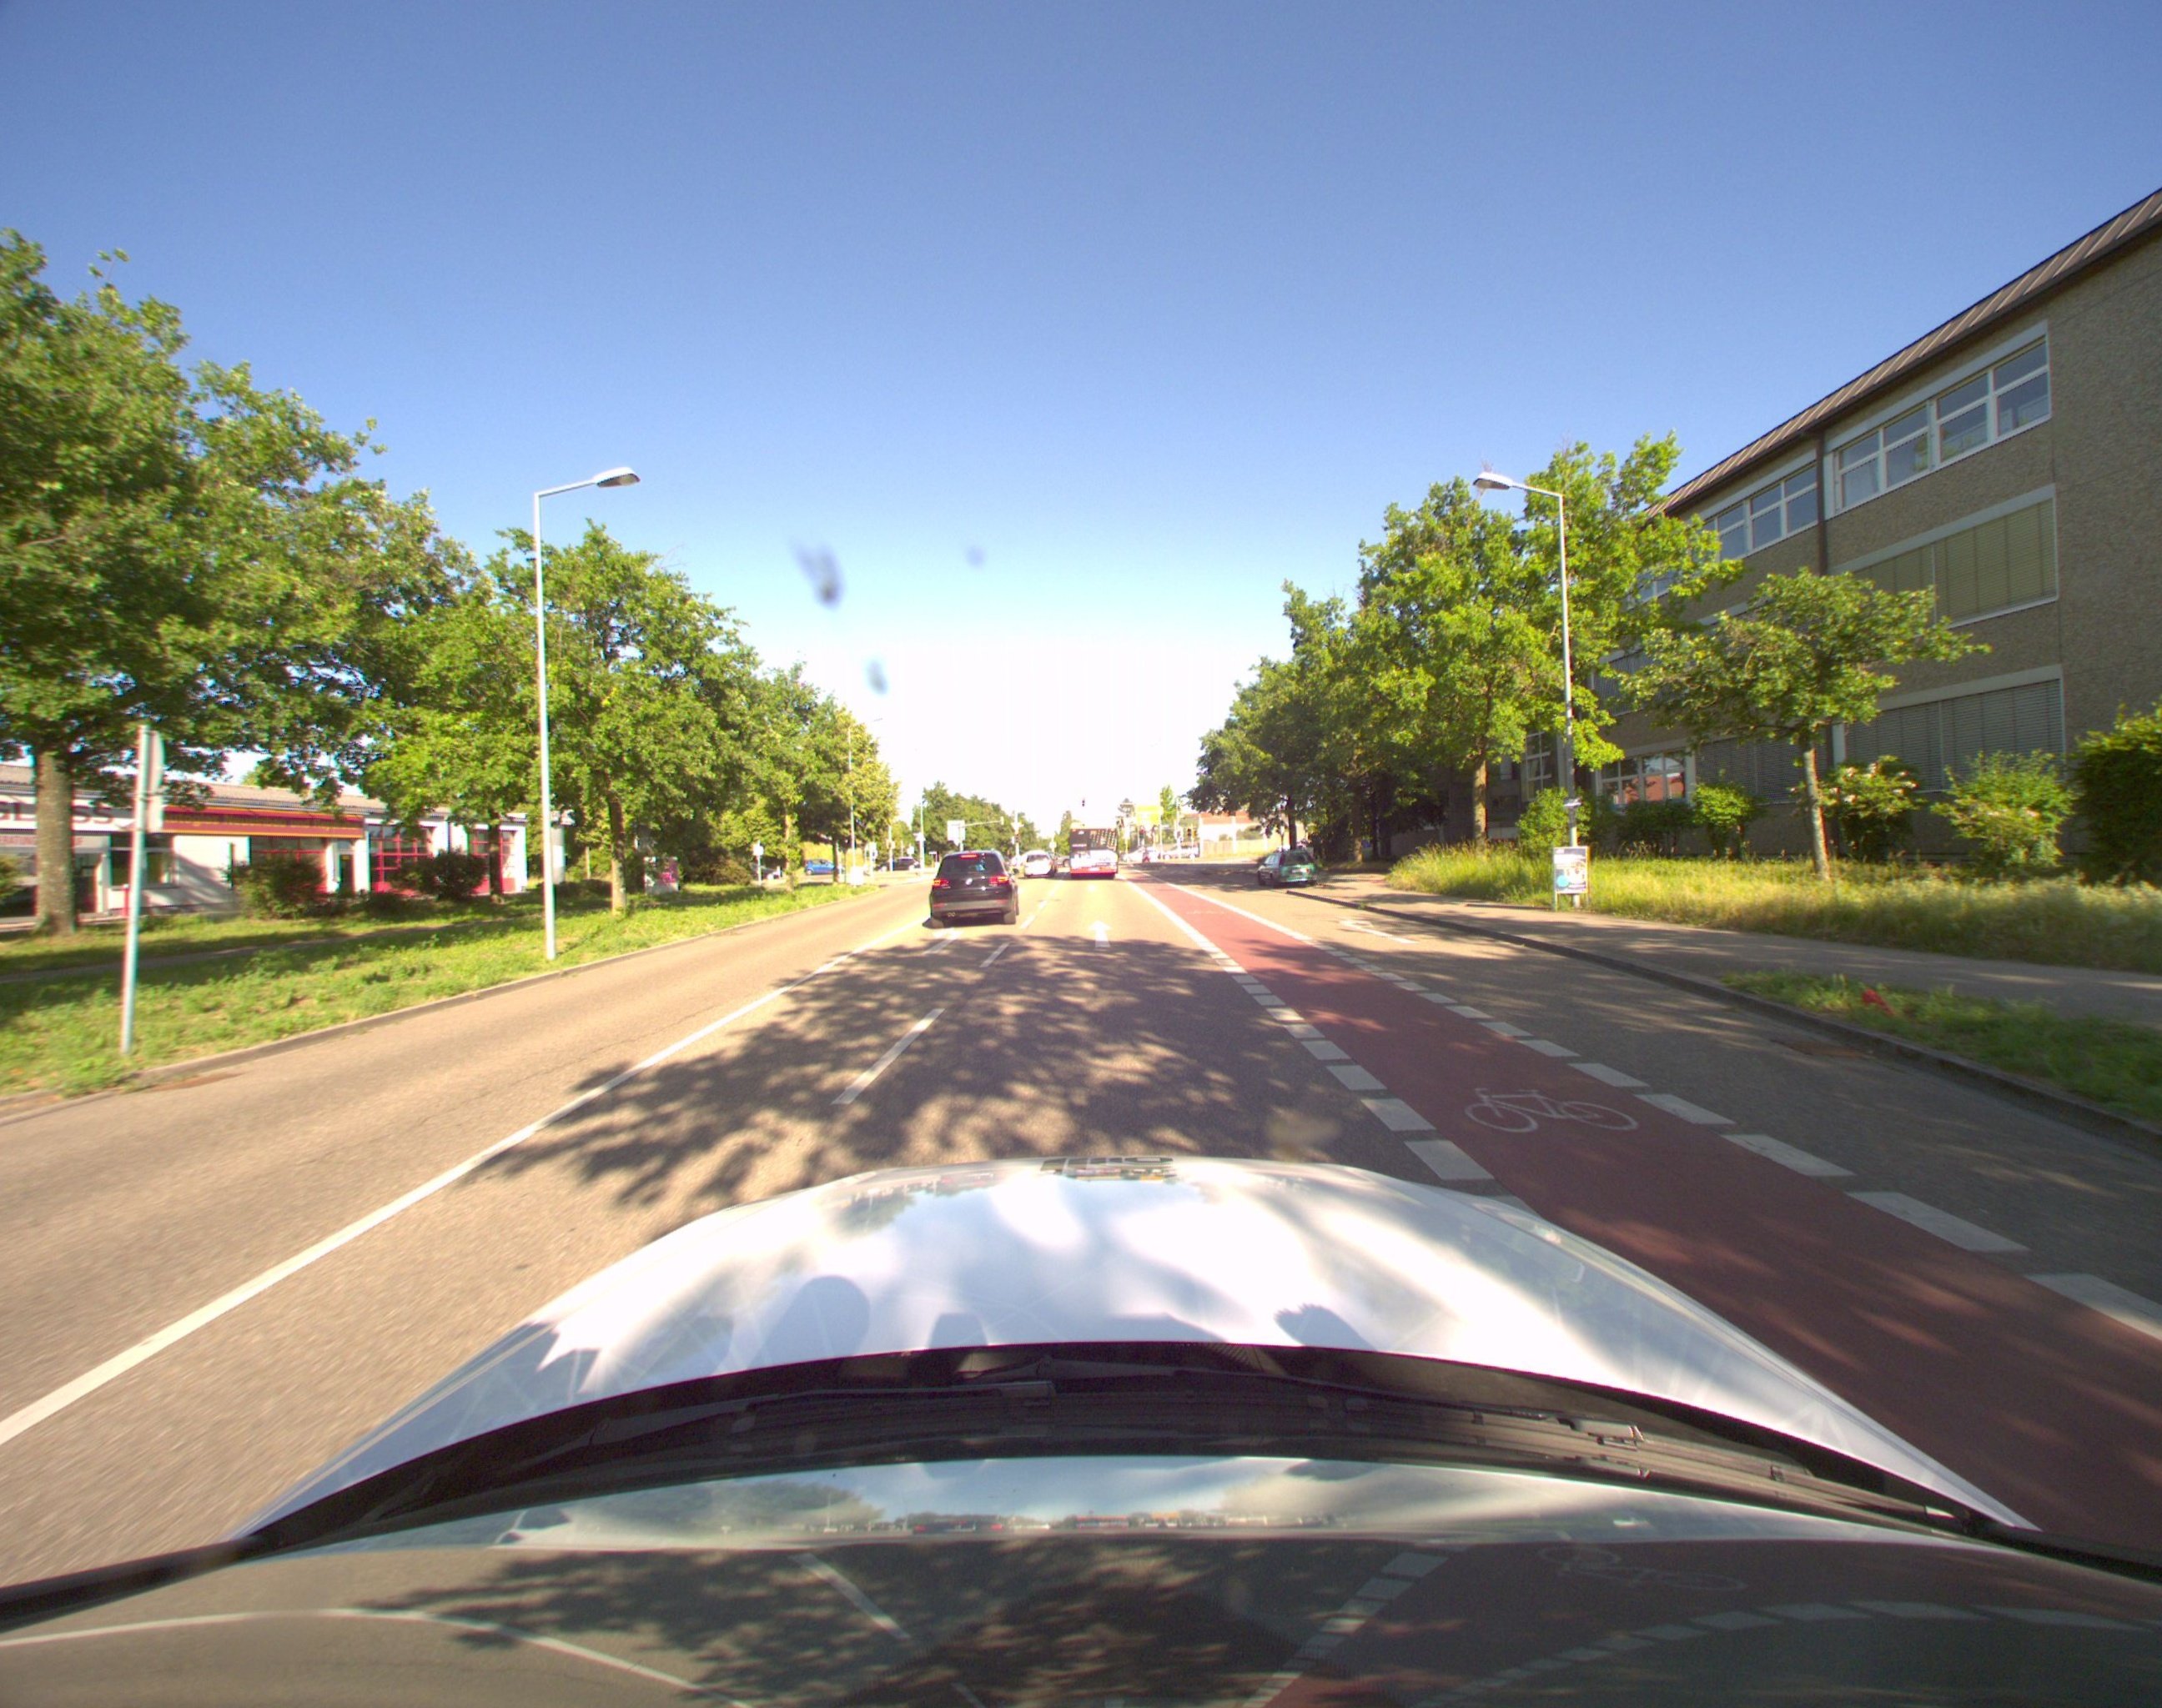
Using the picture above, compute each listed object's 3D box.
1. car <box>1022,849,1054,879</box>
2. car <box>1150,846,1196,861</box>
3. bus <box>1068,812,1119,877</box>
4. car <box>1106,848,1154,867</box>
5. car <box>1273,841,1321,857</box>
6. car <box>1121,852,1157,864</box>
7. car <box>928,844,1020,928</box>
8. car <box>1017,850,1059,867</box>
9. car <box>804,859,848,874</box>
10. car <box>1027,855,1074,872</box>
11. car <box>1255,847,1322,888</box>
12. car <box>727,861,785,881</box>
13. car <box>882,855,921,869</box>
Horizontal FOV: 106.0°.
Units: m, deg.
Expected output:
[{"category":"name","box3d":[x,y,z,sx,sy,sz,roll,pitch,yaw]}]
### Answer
[{"category":"car","box3d":[-2.687,0.570,50.372,1.751,1.620,4.026,-2,1,-5]},{"category":"car","box3d":[10.010,-0.055,88.933,4.695,1.540,1.996,-2,0,-6]},{"category":"bus","box3d":[0.716,-0.522,48.288,2.587,3.334,11.984,-1,0,1]},{"category":"car","box3d":[3.778,0.273,62.305,3.501,1.302,1.579,-2,0,9]},{"category":"car","box3d":[23.936,-0.574,90.216,4.692,1.540,1.998,-2,0,-4]},{"category":"car","box3d":[6.545,0.467,91.825,3.840,1.340,1.680,-1,-1,-5]},{"category":"car","box3d":[-2.382,0.700,19.007,1.818,1.673,3.996,-2,-1,-4]},{"category":"car","box3d":[-4.578,0.504,87.195,4.375,1.683,1.709,-1,-1,-4]},{"category":"car","box3d":[-24.816,1.172,79.255,3.844,1.385,1.678,-1,-1,-8]},{"category":"car","box3d":[-2.823,0.865,74.938,4.213,1.480,1.761,-1,-1,-4]},{"category":"car","box3d":[8.048,0.493,31.976,1.587,1.428,4.205,-3,0,1]},{"category":"car","box3d":[-28.711,1.498,72.031,4.454,1.440,1.680,-3,1,-5]},{"category":"car","box3d":[-18.778,0.829,85.326,3.889,1.340,1.678,-1,-1,-8]}]
